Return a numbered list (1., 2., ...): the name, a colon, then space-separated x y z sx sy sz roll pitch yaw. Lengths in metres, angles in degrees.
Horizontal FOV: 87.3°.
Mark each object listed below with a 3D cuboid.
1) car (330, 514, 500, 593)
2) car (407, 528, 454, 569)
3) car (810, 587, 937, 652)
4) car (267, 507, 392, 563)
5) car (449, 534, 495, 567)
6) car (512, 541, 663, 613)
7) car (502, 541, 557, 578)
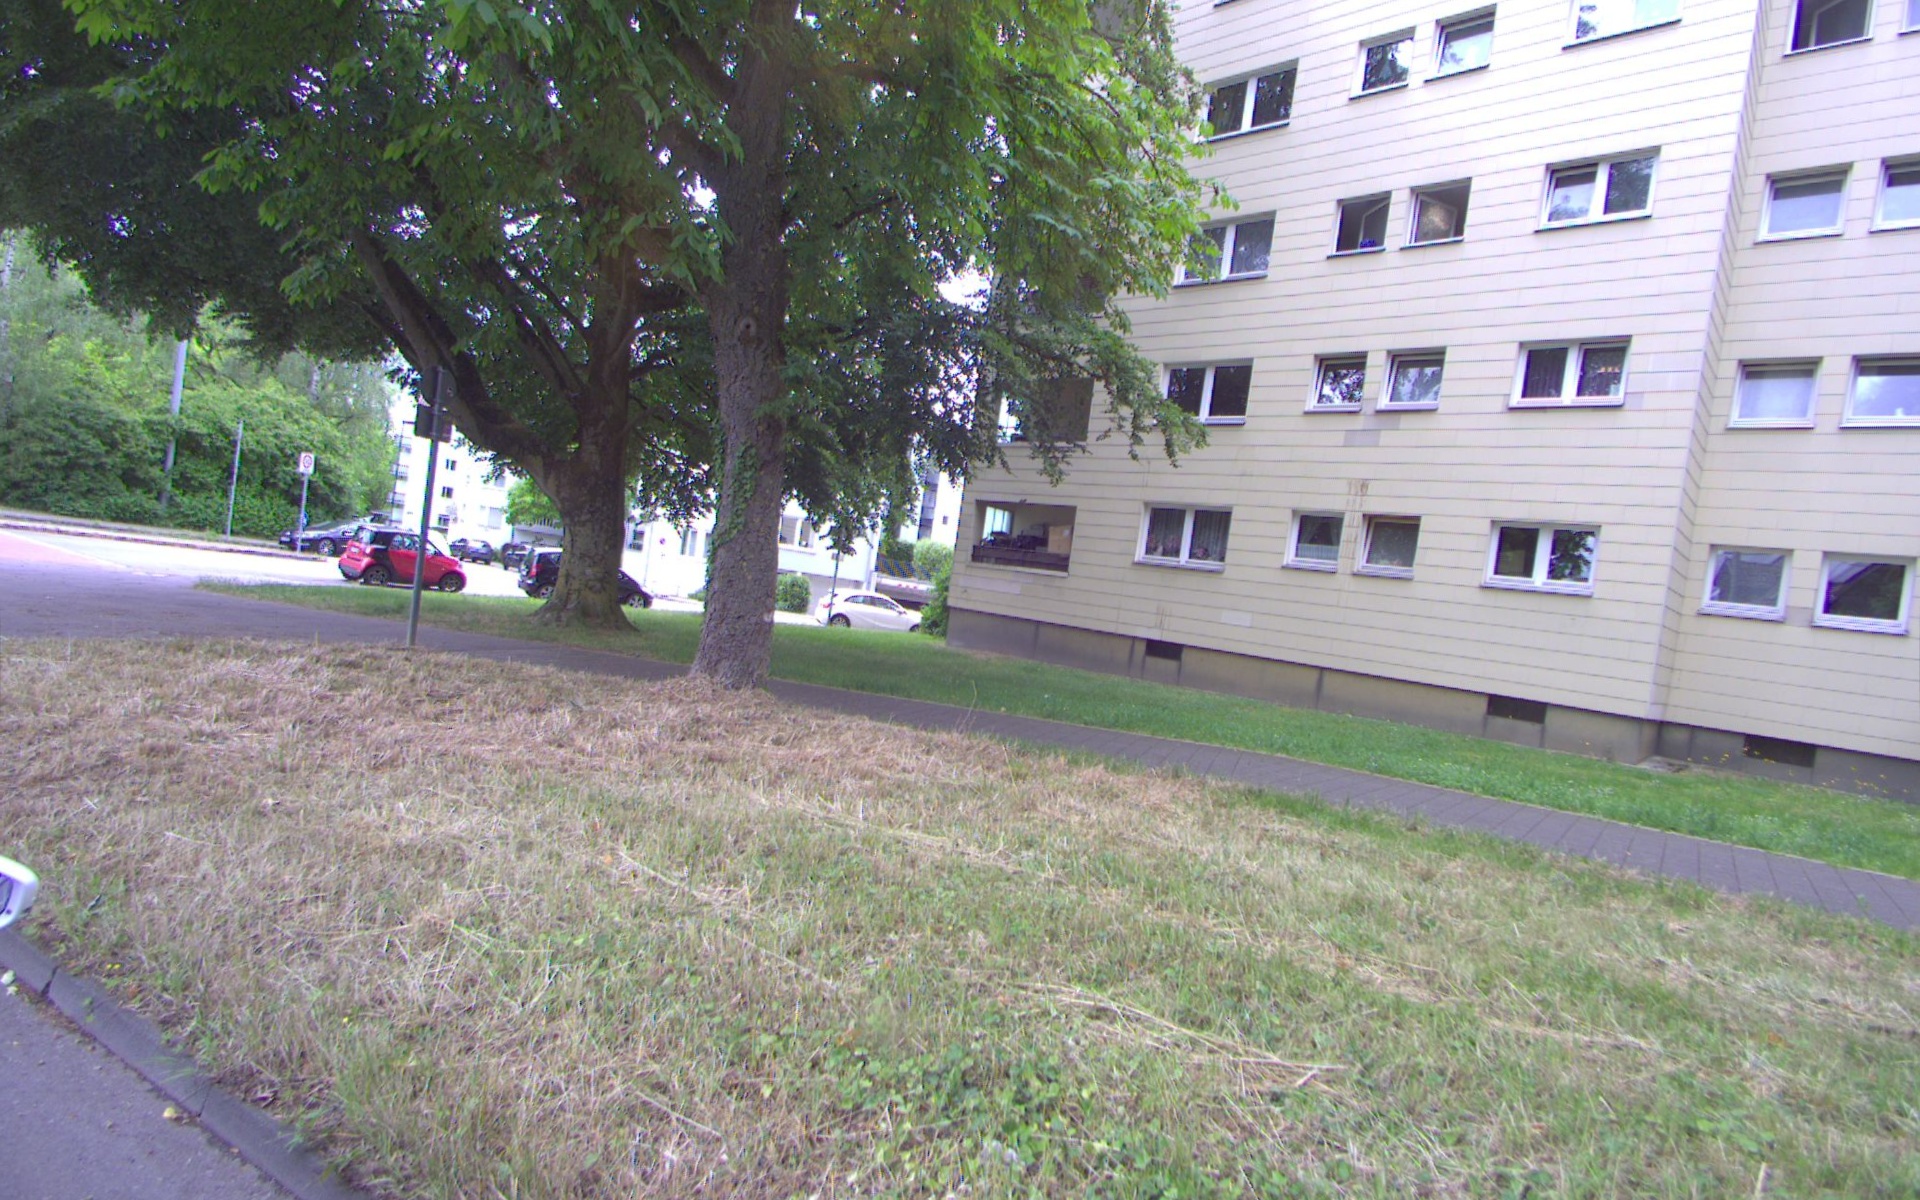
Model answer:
1. car: -14.531 -1.206 26.945 1.702 1.631 3.516 8 1 37
2. car: -24.879 -2.440 47.181 1.709 1.631 3.823 6 1 -30
3. car: -2.888 0.634 33.307 3.796 1.631 1.721 7 1 -18
4. car: -23.405 -2.403 37.430 1.702 1.549 3.515 8 1 38
5. car: -30.113 -3.070 62.023 1.713 1.631 3.813 6 1 -38
6. car: -11.061 -0.673 29.919 3.814 1.631 1.713 7 1 -33
7. car: -23.189 -2.195 54.070 1.713 1.631 3.813 6 1 -38
